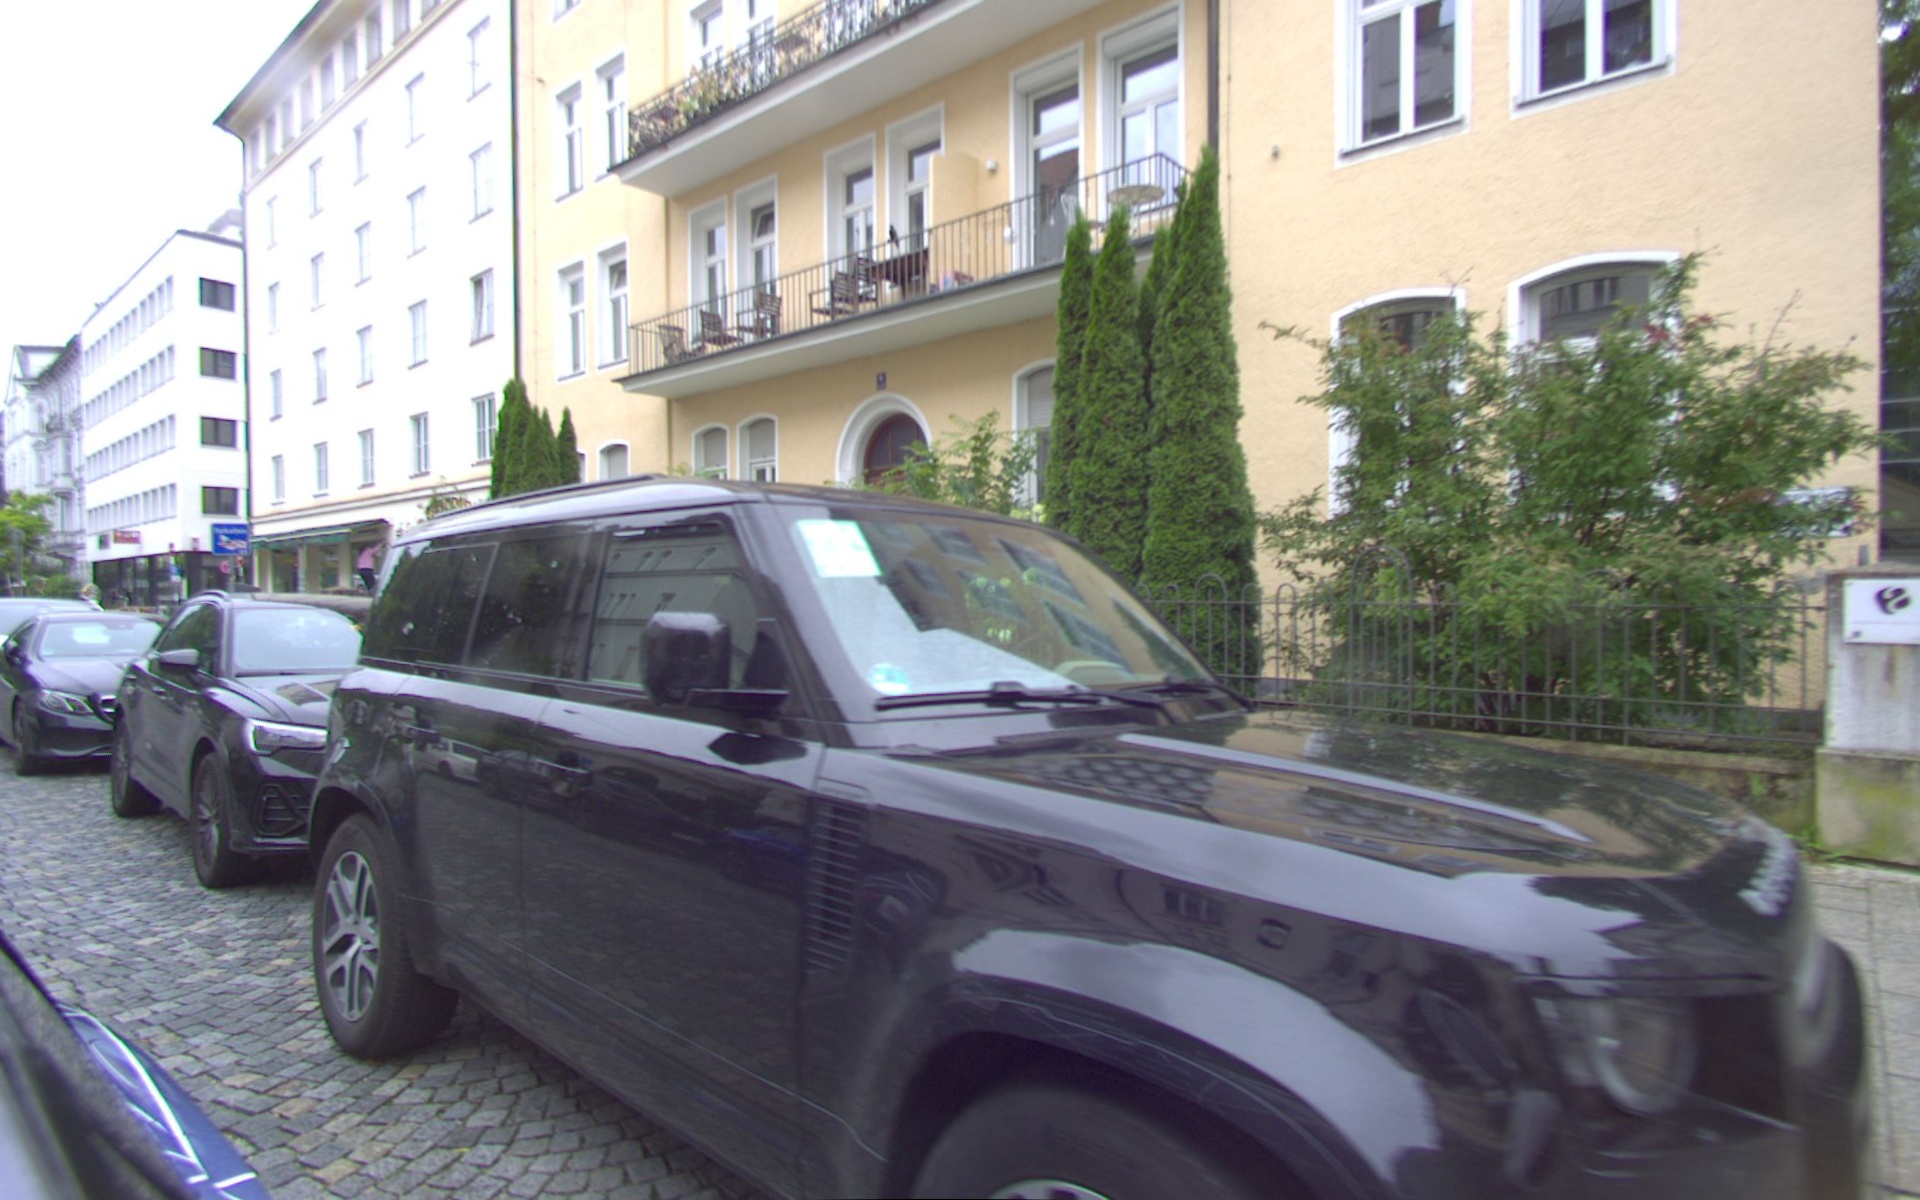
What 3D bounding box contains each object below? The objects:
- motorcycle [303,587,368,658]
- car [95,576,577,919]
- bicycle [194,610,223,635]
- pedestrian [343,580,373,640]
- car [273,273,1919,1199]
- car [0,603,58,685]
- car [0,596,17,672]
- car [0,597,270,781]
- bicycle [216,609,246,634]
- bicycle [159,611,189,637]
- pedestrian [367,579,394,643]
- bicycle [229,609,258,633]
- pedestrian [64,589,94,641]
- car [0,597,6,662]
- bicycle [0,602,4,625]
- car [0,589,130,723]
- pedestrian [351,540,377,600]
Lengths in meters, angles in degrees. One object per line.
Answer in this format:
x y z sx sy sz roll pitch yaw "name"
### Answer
-11.021 0.371 17.843 1.578 1.203 0.486 0 2 40 "motorcycle"
-4.276 0.678 6.653 4.054 1.602 1.563 1 0 41 "car"
-30.893 0.907 41.600 1.890 0.975 0.394 0 2 35 "bicycle"
-17.034 0.280 28.635 0.629 1.654 0.516 0 2 40 "pedestrian"
-0.178 0.602 2.995 4.721 1.750 1.962 -1 1 42 "car"
-18.250 0.776 18.731 4.388 1.369 1.755 0 2 41 "car"
-21.971 0.711 21.930 4.538 1.547 1.755 0 2 41 "car"
-8.789 0.721 10.374 4.389 1.440 1.755 0 2 41 "car"
-30.457 0.895 42.260 1.890 0.975 0.394 0 2 35 "bicycle"
-31.547 0.945 40.617 1.890 0.975 0.394 0 2 35 "bicycle"
-15.880 0.290 27.724 0.574 1.703 0.457 0 2 41 "pedestrian"
-30.199 0.878 42.644 1.890 0.975 0.394 0 2 35 "bicycle"
-31.749 0.521 36.468 0.812 1.854 0.608 0 1 34 "pedestrian"
-25.965 0.748 25.751 4.743 1.598 1.834 0 2 39 "car"
-49.278 0.686 51.829 1.911 1.183 0.356 1 2 43 "bicycle"
-13.481 0.692 14.519 4.390 1.660 1.755 0 2 42 "car"
-16.553 -0.827 28.111 0.497 1.654 0.472 0 2 45 "pedestrian"
